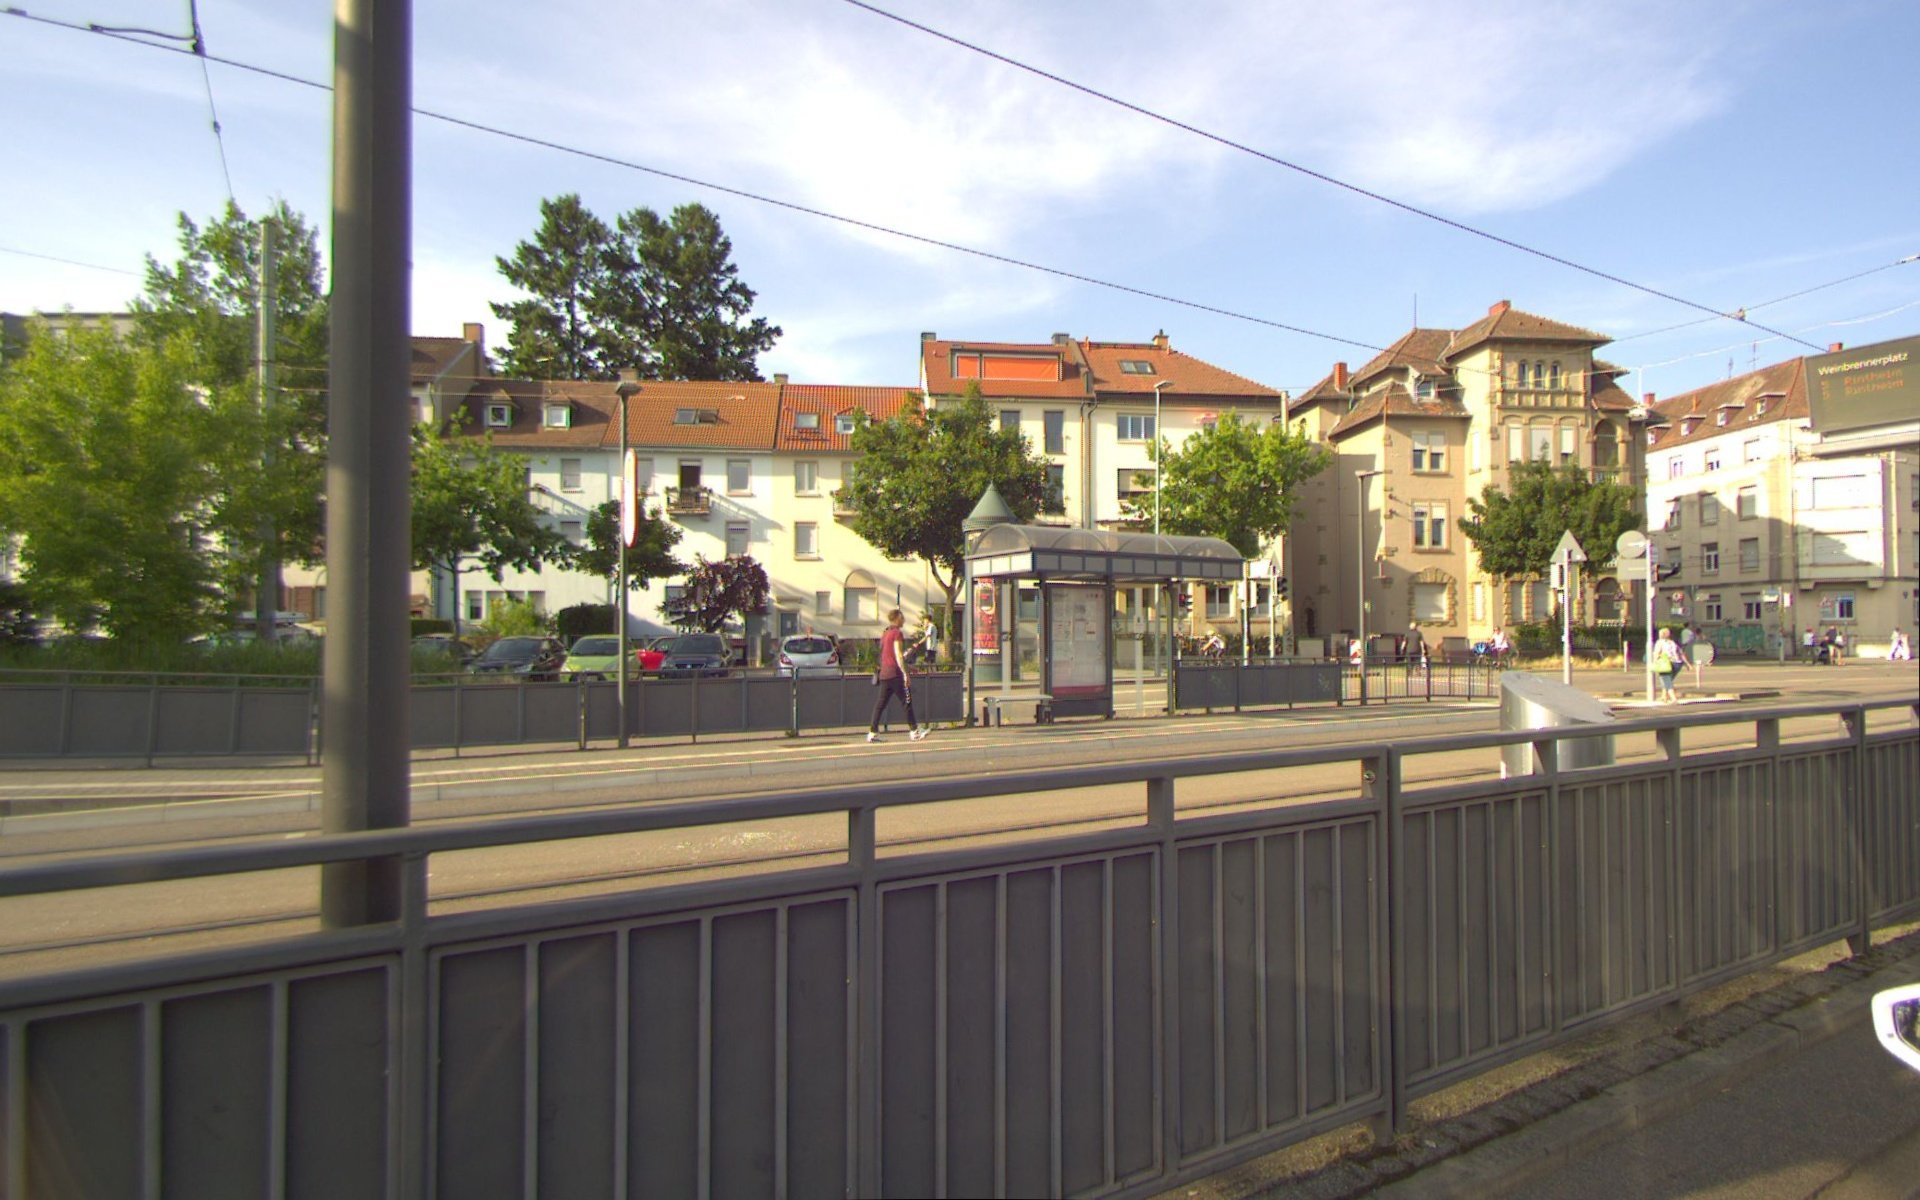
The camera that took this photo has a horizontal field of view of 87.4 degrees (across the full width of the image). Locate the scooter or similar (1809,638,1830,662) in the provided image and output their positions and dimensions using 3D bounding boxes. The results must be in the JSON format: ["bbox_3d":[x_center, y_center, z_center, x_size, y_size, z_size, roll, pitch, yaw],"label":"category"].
[{"bbox_3d":[39.775,2.322,46.497,0.675,1.093,0.541,2,0,-30],"label":"scooter or similar"}]

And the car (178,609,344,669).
[{"bbox_3d":[-18.659,1.049,27.054,1.813,1.505,3.999,0,-2,-3],"label":"car"}]

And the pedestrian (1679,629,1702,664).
[{"bbox_3d":[33.187,2.093,45.631,0.702,1.561,0.626,1,-2,-30],"label":"pedestrian"}]

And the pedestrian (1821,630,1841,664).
[{"bbox_3d":[39.584,2.118,45.670,0.540,1.520,0.437,0,-2,-15],"label":"pedestrian"}]

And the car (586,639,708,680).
[{"bbox_3d":[-11.227,2.122,36.250,3.927,1.416,1.836,0,-2,-9],"label":"car"}]

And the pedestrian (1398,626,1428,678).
[{"bbox_3d":[14.740,1.676,32.718,0.778,1.667,0.757,-1,-2,16],"label":"pedestrian"}]

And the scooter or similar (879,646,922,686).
[{"bbox_3d":[-1.520,1.659,25.450,1.006,1.001,0.556,0,-2,-15],"label":"scooter or similar"}]

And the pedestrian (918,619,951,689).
[{"bbox_3d":[-0.651,1.371,25.698,0.750,1.769,0.547,0,-2,-15],"label":"pedestrian"}]

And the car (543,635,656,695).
[{"bbox_3d":[-9.671,1.713,27.265,1.813,1.505,3.999,0,-2,-3],"label":"car"}]

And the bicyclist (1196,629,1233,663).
[{"bbox_3d":[9.706,1.764,38.303,1.157,1.278,0.762,1,-2,-22],"label":"bicyclist"}]

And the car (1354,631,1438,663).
[{"bbox_3d":[20.369,2.170,47.131,1.732,1.327,4.111,2,0,-7],"label":"car"}]

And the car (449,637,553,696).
[{"bbox_3d":[-11.883,1.676,26.257,1.968,1.416,3.985,0,-2,-18],"label":"car"}]

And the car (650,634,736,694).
[{"bbox_3d":[-7.166,1.683,27.289,1.815,1.505,3.995,0,-2,-9],"label":"car"}]

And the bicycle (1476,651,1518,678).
[{"bbox_3d":[17.862,2.144,33.423,1.669,0.845,0.523,1,-2,-34],"label":"bicycle"}]

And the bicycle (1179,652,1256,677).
[{"bbox_3d":[9.836,2.452,38.327,2.954,0.926,0.783,1,-2,-22],"label":"bicycle"}]

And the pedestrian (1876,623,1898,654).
[{"bbox_3d":[50.073,2.094,54.271,0.576,1.682,0.620,0,-2,-14],"label":"pedestrian"}]

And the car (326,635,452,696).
[{"bbox_3d":[-14.404,1.601,25.597,1.968,1.416,3.985,0,-2,-18],"label":"car"}]

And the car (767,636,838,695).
[{"bbox_3d":[-4.349,1.765,27.828,1.815,1.505,3.995,0,-2,-9],"label":"car"}]

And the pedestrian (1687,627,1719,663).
[{"bbox_3d":[32.444,1.970,43.874,0.768,1.572,0.831,0,-2,-8],"label":"pedestrian"}]

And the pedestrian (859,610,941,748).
[{"bbox_3d":[-0.777,1.006,12.927,0.867,1.706,0.551,1,-5,-30],"label":"pedestrian"}]

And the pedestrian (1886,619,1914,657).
[{"bbox_3d":[50.893,2.067,54.383,0.773,2.040,0.775,0,-2,-15],"label":"pedestrian"}]

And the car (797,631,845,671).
[{"bbox_3d":[-6.059,2.197,44.210,1.962,1.684,3.997,0,-2,-6],"label":"car"}]

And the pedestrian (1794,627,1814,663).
[{"bbox_3d":[38.955,2.052,46.350,0.601,1.647,0.506,1,-2,-29],"label":"pedestrian"}]

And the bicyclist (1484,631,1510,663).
[{"bbox_3d":[17.877,1.555,33.445,0.672,1.058,0.509,1,-2,-34],"label":"bicyclist"}]

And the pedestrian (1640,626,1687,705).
[{"bbox_3d":[14.795,1.363,21.125,0.627,1.620,0.608,1,-2,-36],"label":"pedestrian"}]

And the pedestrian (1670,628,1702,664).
[{"bbox_3d":[32.404,2.039,44.847,0.768,1.572,0.831,0,-2,-8],"label":"pedestrian"}]
